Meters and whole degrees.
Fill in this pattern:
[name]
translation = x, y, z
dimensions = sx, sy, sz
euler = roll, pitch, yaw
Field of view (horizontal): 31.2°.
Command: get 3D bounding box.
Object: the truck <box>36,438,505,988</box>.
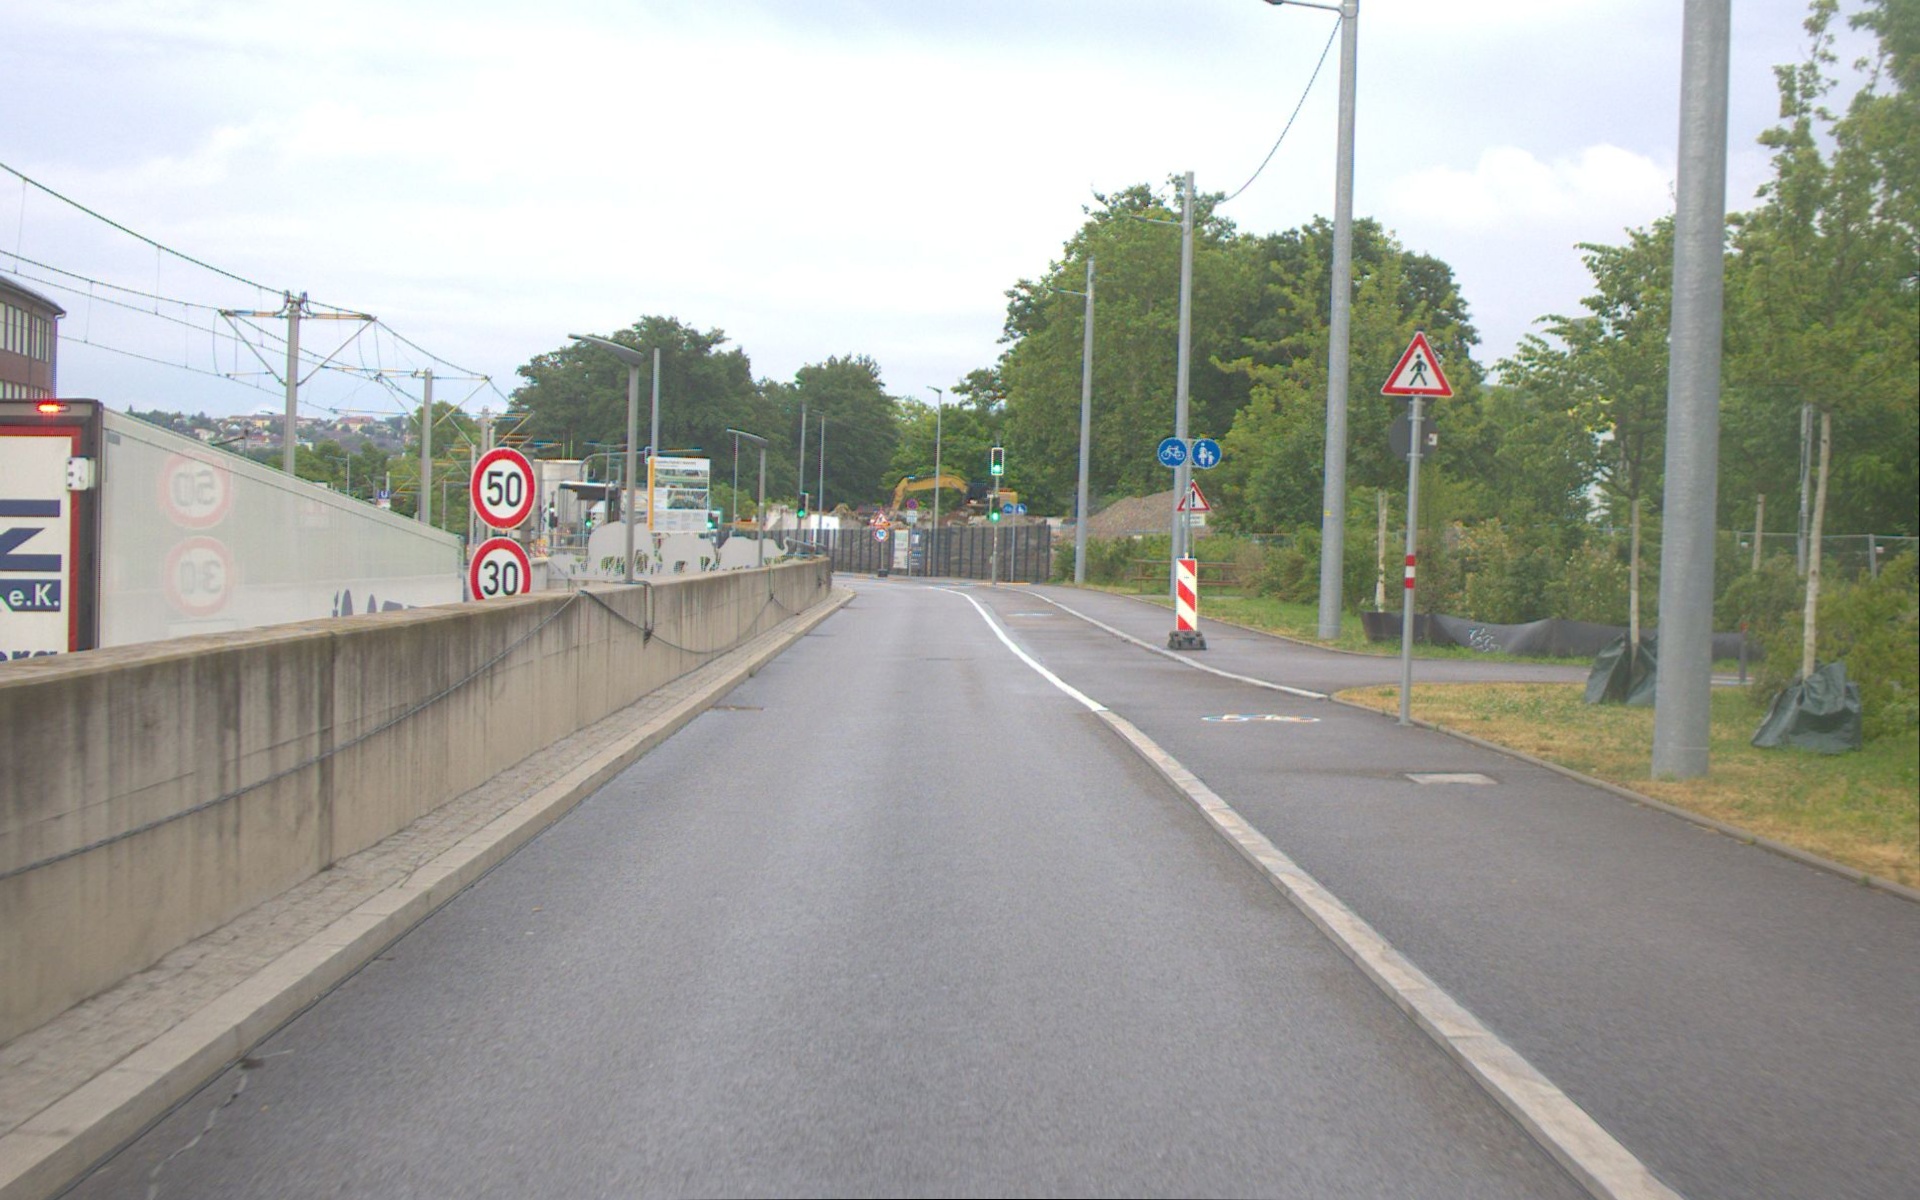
[truck]
translation = -5.672, 0.807, 29.353
dimensions = 2.756, 4.190, 6.307
euler = 0, 1, 0

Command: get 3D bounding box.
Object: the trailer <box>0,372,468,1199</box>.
[trailer]
translation = -5.667, 0.880, 23.424
dimensions = 2.762, 4.238, 13.184
euler = 0, 1, 0
